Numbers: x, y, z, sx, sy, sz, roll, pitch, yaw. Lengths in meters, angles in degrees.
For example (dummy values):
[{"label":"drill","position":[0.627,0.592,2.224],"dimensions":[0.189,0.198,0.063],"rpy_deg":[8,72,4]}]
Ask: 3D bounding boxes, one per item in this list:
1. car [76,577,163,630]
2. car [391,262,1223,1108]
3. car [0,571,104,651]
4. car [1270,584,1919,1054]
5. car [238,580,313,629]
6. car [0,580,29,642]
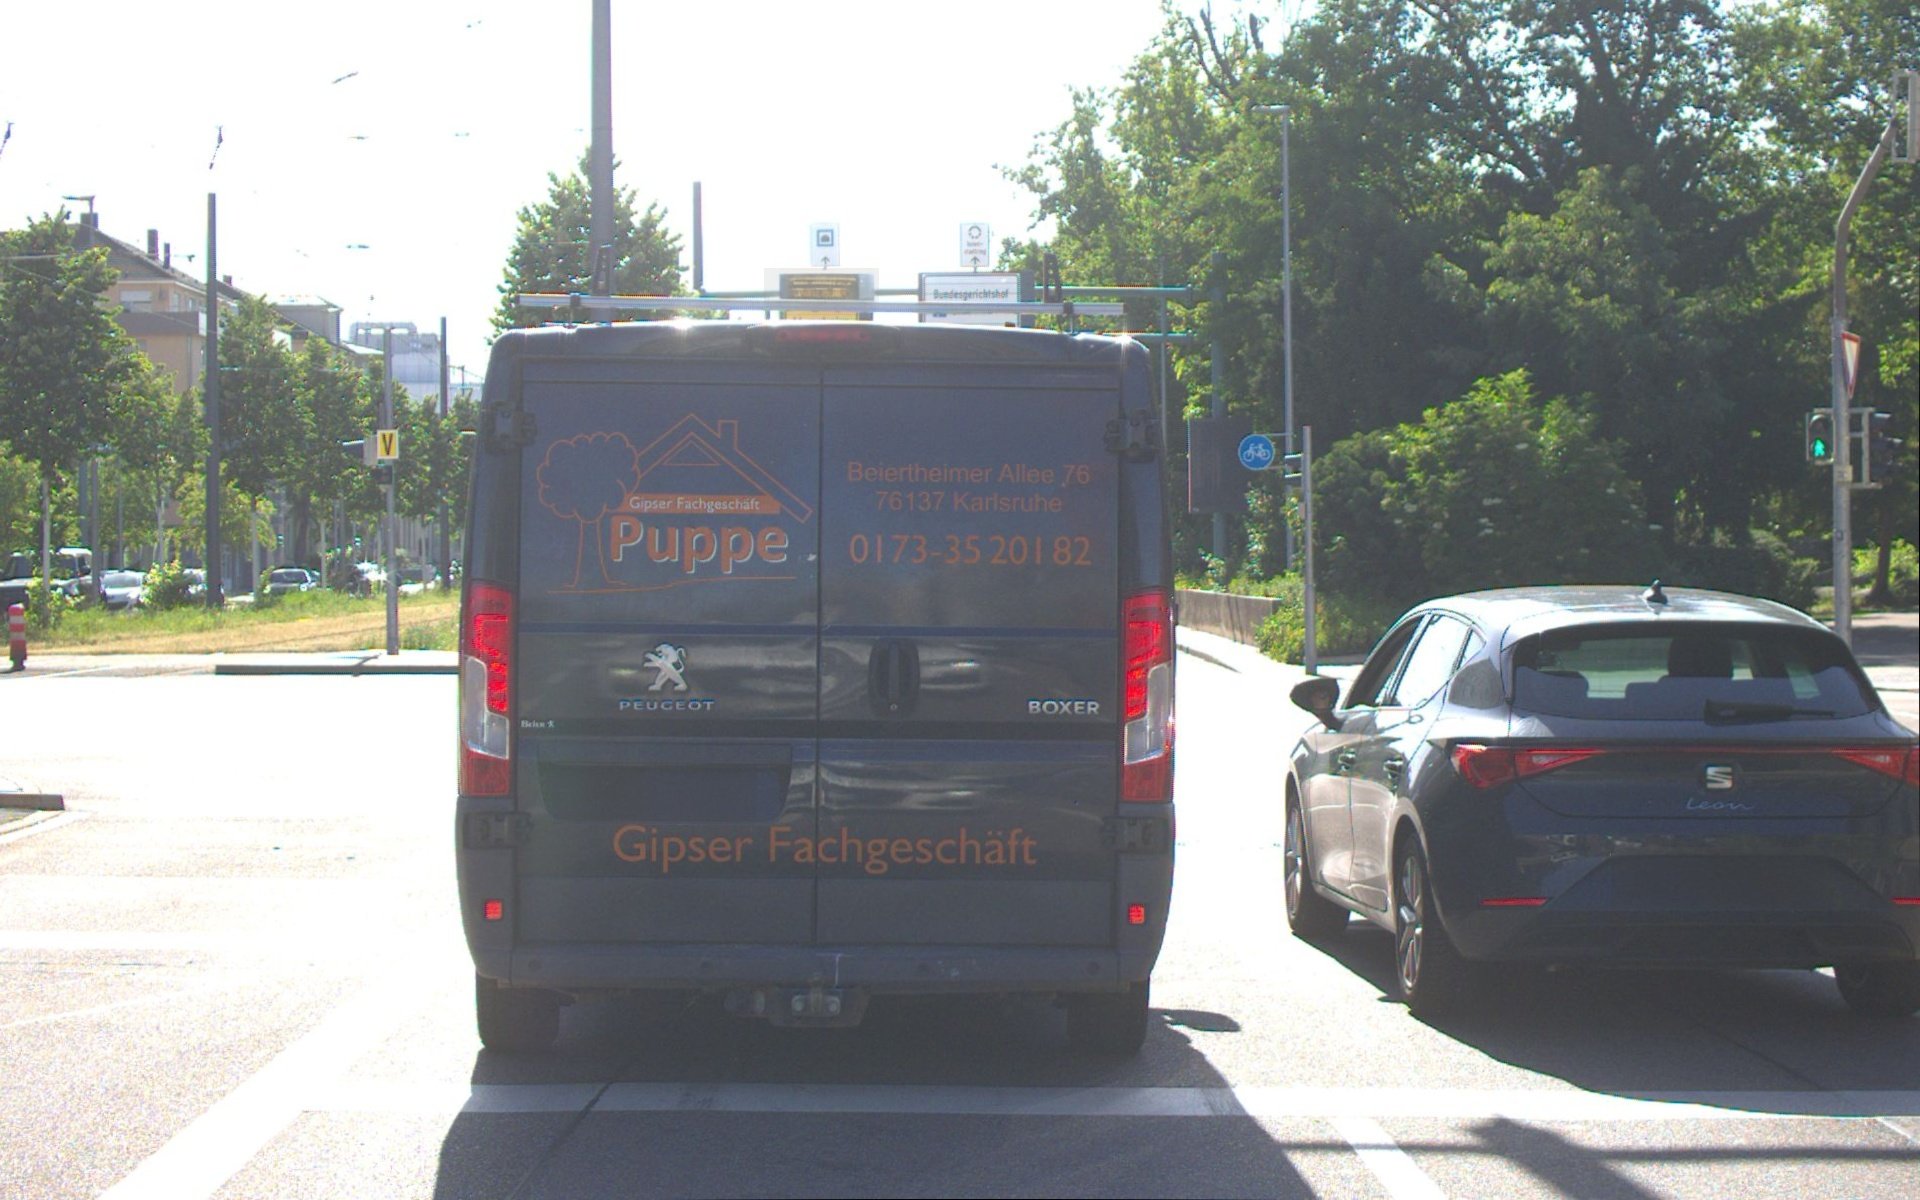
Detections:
[{"label":"car","position":[-26.824,0.096,109.844],"dimensions":[1.790,1.645,4.000],"rpy_deg":[-1,1,0]},{"label":"car","position":[-0.489,0.186,11.558],"dimensions":[2.218,2.259,4.485],"rpy_deg":[1,1,-2]},{"label":"car","position":[-19.967,0.224,74.610],"dimensions":[1.790,1.645,4.000],"rpy_deg":[-1,1,0]},{"label":"car","position":[2.293,0.676,12.604],"dimensions":[1.791,1.423,3.850],"rpy_deg":[1,0,-2]},{"label":"car","position":[-23.702,0.142,119.157],"dimensions":[1.790,1.645,4.000],"rpy_deg":[-1,1,0]},{"label":"car","position":[-26.695,0.306,93.272],"dimensions":[1.790,1.645,4.000],"rpy_deg":[-1,1,0]}]
